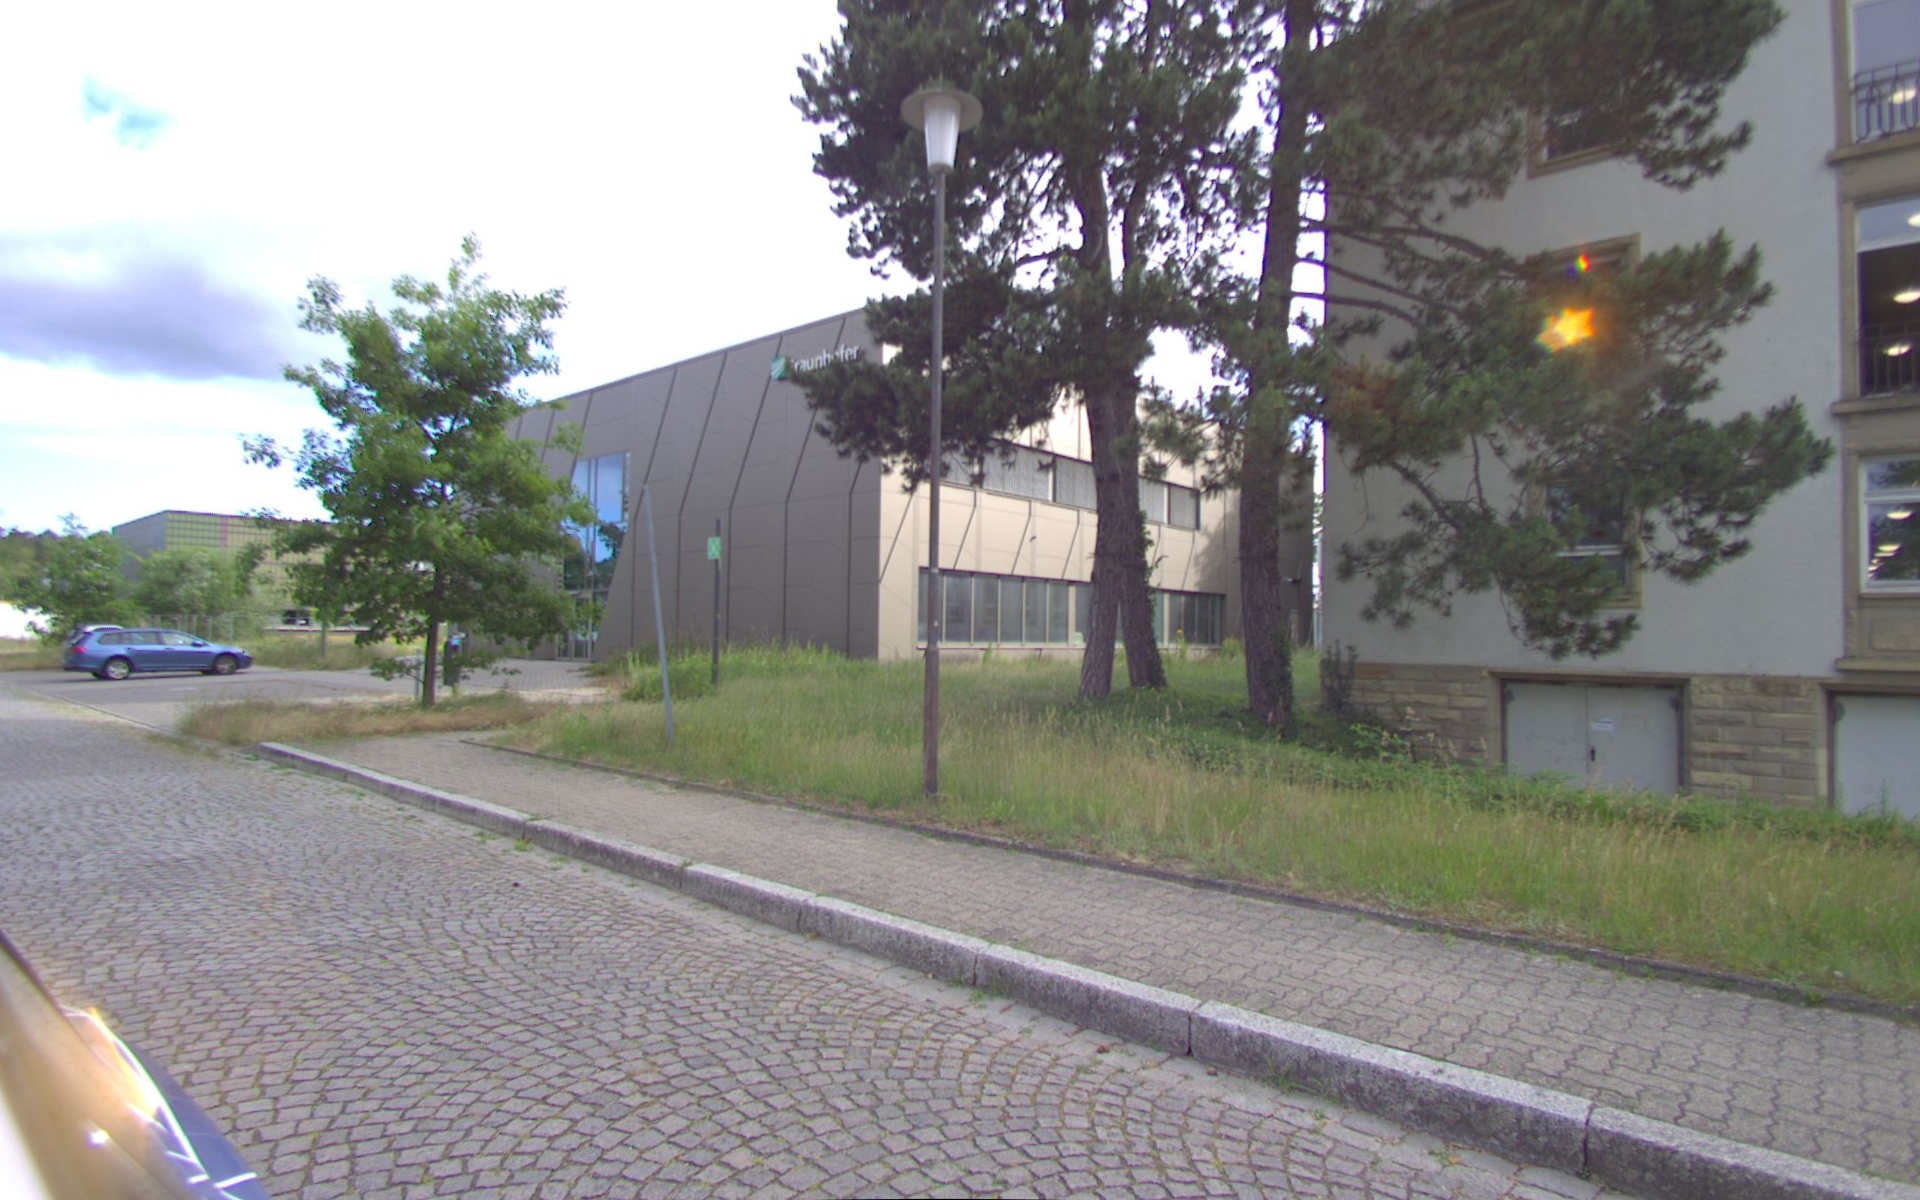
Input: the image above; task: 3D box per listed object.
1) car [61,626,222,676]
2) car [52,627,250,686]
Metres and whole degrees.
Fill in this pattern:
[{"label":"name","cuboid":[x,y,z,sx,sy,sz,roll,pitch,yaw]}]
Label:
[{"label":"car","cuboid":[-28.842,1.742,35.730,4.339,1.557,1.843,0,-1,-43]},{"label":"car","cuboid":[-23.996,1.617,30.169,1.715,1.522,4.350,-1,0,38]}]
